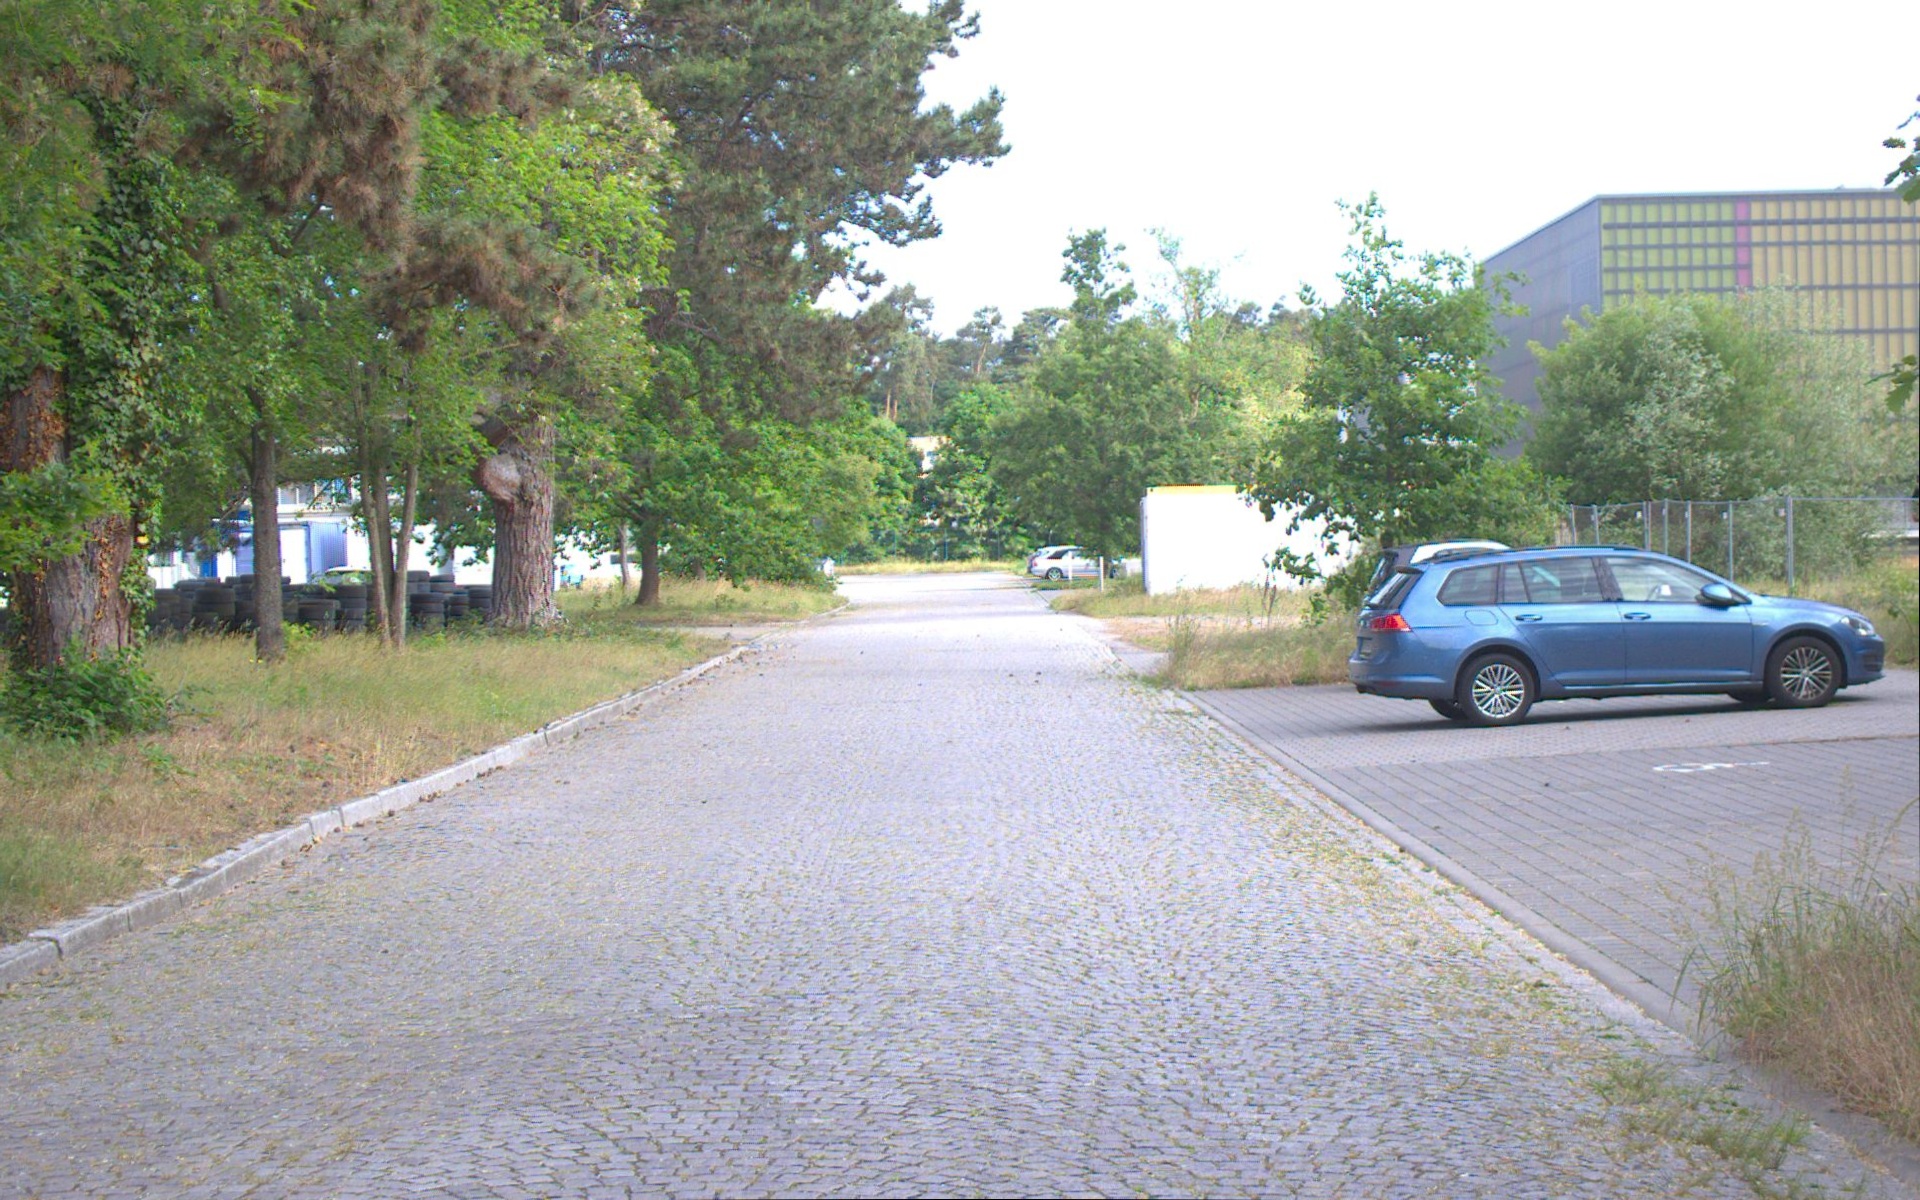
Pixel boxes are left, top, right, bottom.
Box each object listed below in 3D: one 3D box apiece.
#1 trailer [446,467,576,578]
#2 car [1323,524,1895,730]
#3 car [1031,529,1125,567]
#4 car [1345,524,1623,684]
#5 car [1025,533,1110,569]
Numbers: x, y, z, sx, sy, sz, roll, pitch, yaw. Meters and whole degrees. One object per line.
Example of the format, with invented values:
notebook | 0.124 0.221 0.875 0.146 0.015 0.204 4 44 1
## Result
trailer | -15.174 -2.626 116.971 2.625 3.585 10.177 -1 1 2
car | 5.549 0.207 29.749 4.490 1.470 1.831 -3 1 -2
car | 5.114 -2.276 149.575 3.985 1.443 1.653 -3 1 1
car | 5.646 0.029 37.250 2.710 1.551 1.653 -3 1 1
car | 4.571 -2.111 146.888 3.522 1.357 1.622 -3 1 1
